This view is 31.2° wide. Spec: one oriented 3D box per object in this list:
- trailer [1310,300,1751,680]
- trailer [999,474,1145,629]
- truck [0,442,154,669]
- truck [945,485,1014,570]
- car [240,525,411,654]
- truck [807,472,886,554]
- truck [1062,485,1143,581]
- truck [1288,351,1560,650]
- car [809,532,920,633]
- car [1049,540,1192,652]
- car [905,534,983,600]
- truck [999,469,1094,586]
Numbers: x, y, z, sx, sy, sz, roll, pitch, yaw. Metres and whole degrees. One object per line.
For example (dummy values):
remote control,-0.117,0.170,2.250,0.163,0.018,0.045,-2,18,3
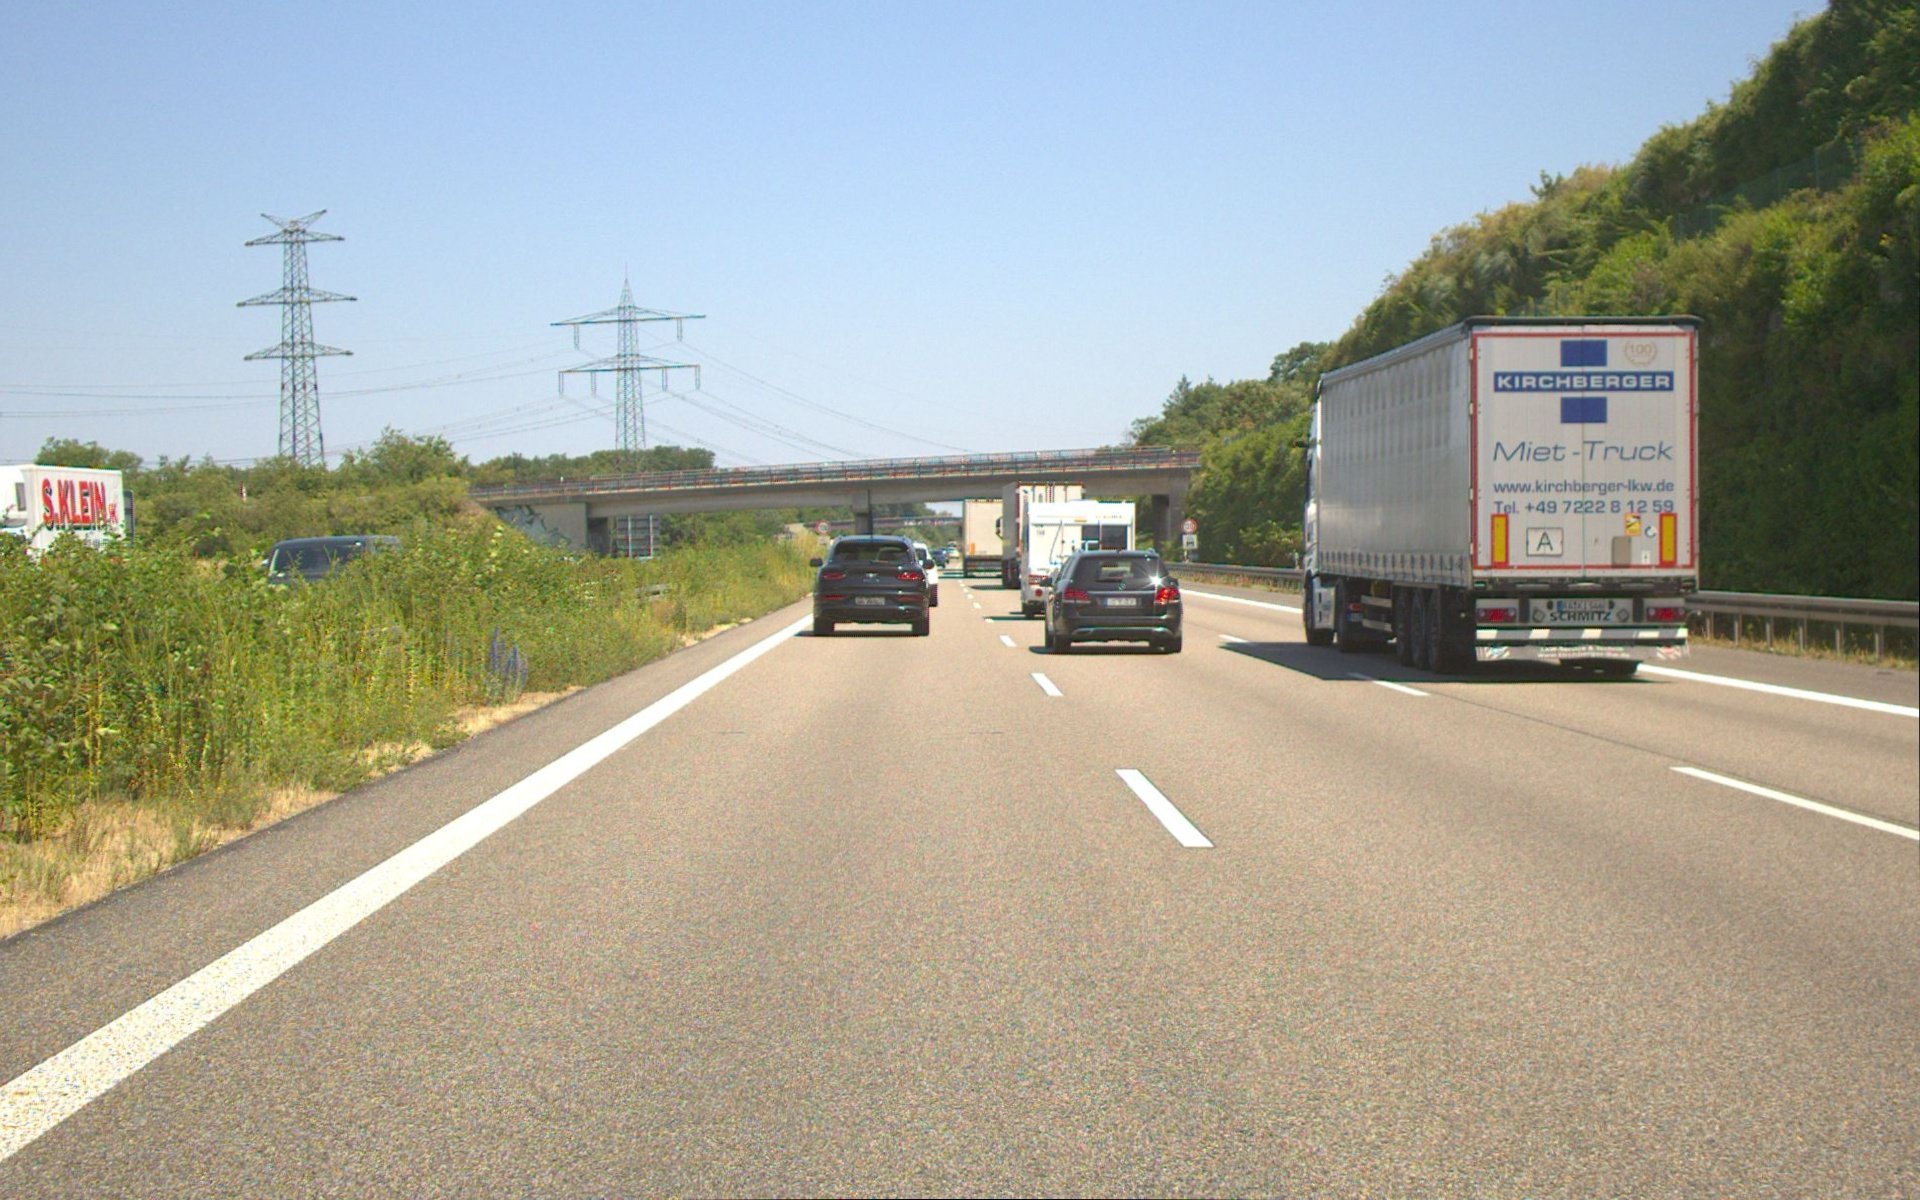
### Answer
trailer,6.942,-1.327,44.395,3.183,4.107,13.432,-1,1,-1
trailer,2.395,-1.101,76.850,2.610,3.202,9.954,-1,1,-2
truck,-18.701,-0.885,68.363,2.873,4.162,10.569,-1,1,-1
truck,0.976,-3.826,182.287,3.409,4.265,10.608,-1,1,-1
car,-10.446,-0.218,56.925,1.993,2.007,5.118,-1,1,-2
truck,-5.950,-4.552,181.146,3.961,4.099,9.954,-1,1,-2
truck,6.535,-3.103,159.337,3.119,4.265,10.168,-1,1,-1
truck,6.767,-1.439,50.936,3.135,4.127,5.504,-1,1,-1
car,-1.653,-0.327,59.744,1.830,1.665,4.000,-1,1,-1
car,2.287,-0.093,49.905,1.830,1.520,4.000,-1,1,0
car,-0.441,-0.889,90.284,1.829,1.665,4.001,-1,1,-3
truck,3.269,-2.771,132.818,3.119,4.265,11.934,-1,1,-1
